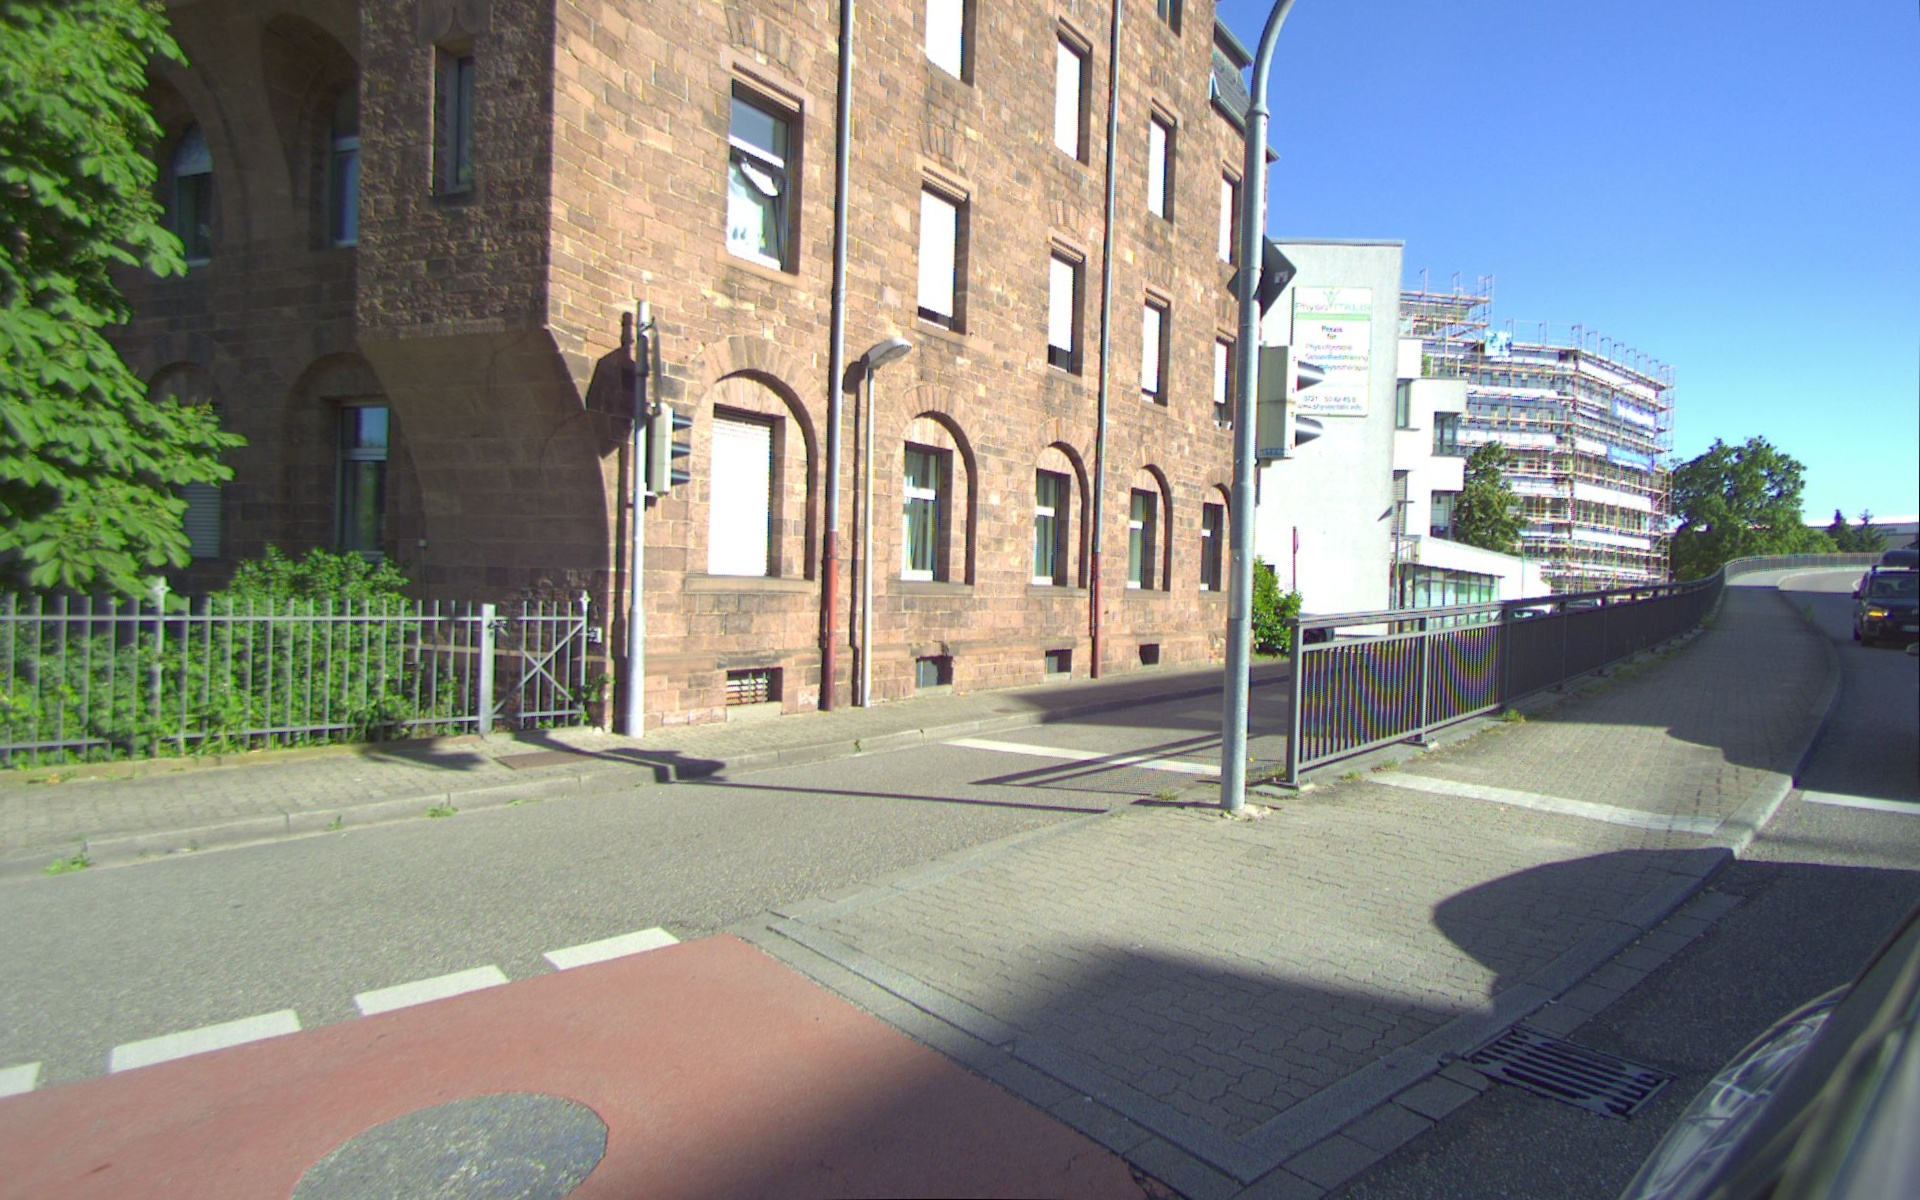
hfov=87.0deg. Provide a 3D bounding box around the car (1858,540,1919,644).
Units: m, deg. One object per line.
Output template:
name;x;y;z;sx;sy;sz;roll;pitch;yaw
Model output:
car;22.844;-0.275;24.037;1.901;2.240;4.539;1;4;37

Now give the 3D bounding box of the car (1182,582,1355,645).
car;9.091;0.371;30.062;4.562;1.789;1.828;0;2;2

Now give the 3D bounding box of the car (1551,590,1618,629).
car;27.582;0.399;44.655;1.843;1.554;3.940;3;2;41

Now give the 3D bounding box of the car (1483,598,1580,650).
car;19.114;0.748;33.766;1.844;1.448;4.611;1;3;42

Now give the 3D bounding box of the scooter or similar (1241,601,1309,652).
scooter or similar;7.900;0.656;25.379;1.453;1.234;0.775;-1;-1;35

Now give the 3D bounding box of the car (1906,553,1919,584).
car;48.051;-1.507;49.712;1.816;1.521;4.391;3;3;37

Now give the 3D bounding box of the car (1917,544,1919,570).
car;76.402;-3.245;78.638;4.758;1.959;2.001;1;1;-35
